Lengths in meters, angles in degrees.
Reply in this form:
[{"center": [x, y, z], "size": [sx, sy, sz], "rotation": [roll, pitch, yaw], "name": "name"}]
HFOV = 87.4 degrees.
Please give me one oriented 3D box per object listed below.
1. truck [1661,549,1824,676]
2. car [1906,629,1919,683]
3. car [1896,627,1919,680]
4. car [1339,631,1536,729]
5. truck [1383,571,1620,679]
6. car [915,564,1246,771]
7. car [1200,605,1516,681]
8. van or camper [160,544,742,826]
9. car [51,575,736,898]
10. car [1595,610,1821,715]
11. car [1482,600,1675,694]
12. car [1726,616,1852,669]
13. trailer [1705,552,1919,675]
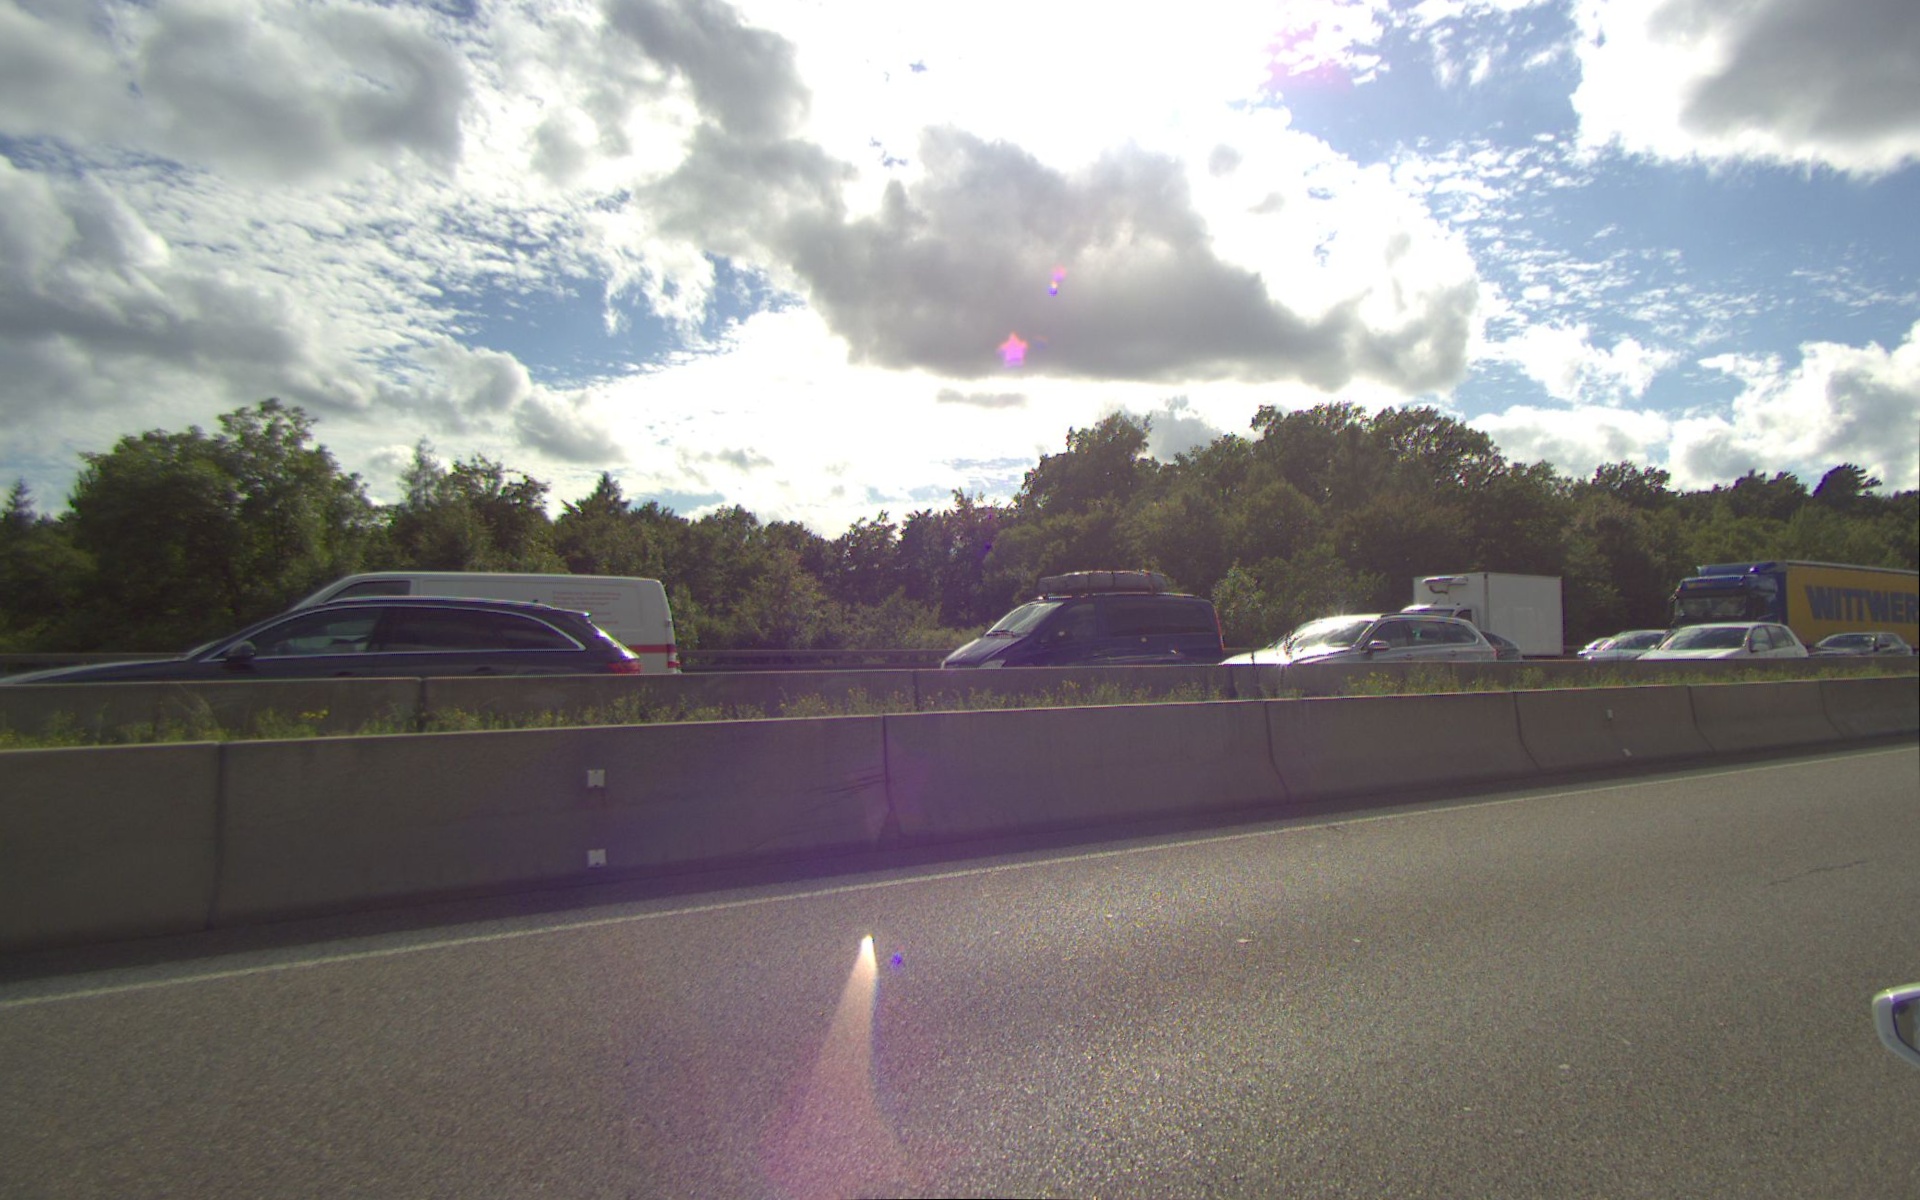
[{"center": [28.097, 0.510, 36.030], "size": [5.553, 4.203, 2.722], "rotation": [3, -1, -31], "name": "truck"}, {"center": [27.037, 1.532, 26.682], "size": [3.954, 1.395, 1.748], "rotation": [1, 1, -31], "name": "car"}, {"center": [35.370, 1.953, 35.887], "size": [4.247, 1.840, 1.678], "rotation": [3, -1, -31], "name": "car"}, {"center": [10.184, 1.662, 21.337], "size": [4.247, 1.840, 1.678], "rotation": [3, -1, -31], "name": "car"}, {"center": [15.958, 0.711, 29.385], "size": [7.856, 2.839, 2.317], "rotation": [1, 1, -31], "name": "truck"}, {"center": [2.090, 1.013, 16.766], "size": [5.339, 3.003, 1.984], "rotation": [1, 1, -30], "name": "car"}, {"center": [5.591, 0.565, 13.935], "size": [4.551, 0.869, 1.627], "rotation": [1, 1, -30], "name": "car"}, {"center": [-5.741, 0.941, 12.068], "size": [5.683, 2.747, 2.036], "rotation": [3, -1, -30], "name": "van or camper"}, {"center": [-4.299, 0.967, 8.320], "size": [4.357, 2.040, 1.985], "rotation": [3, -2, -30], "name": "car"}, {"center": [14.482, 1.148, 19.421], "size": [4.245, 1.766, 1.984], "rotation": [1, 1, -30], "name": "car"}, {"center": [14.765, 1.118, 23.921], "size": [4.604, 2.040, 1.983], "rotation": [3, -1, -31], "name": "car"}, {"center": [24.640, 1.259, 29.845], "size": [3.793, 1.419, 1.724], "rotation": [3, -1, -31], "name": "car"}, {"center": [34.362, 0.727, 39.848], "size": [13.505, 4.290, 2.757], "rotation": [3, -1, -31], "name": "trailer"}]
